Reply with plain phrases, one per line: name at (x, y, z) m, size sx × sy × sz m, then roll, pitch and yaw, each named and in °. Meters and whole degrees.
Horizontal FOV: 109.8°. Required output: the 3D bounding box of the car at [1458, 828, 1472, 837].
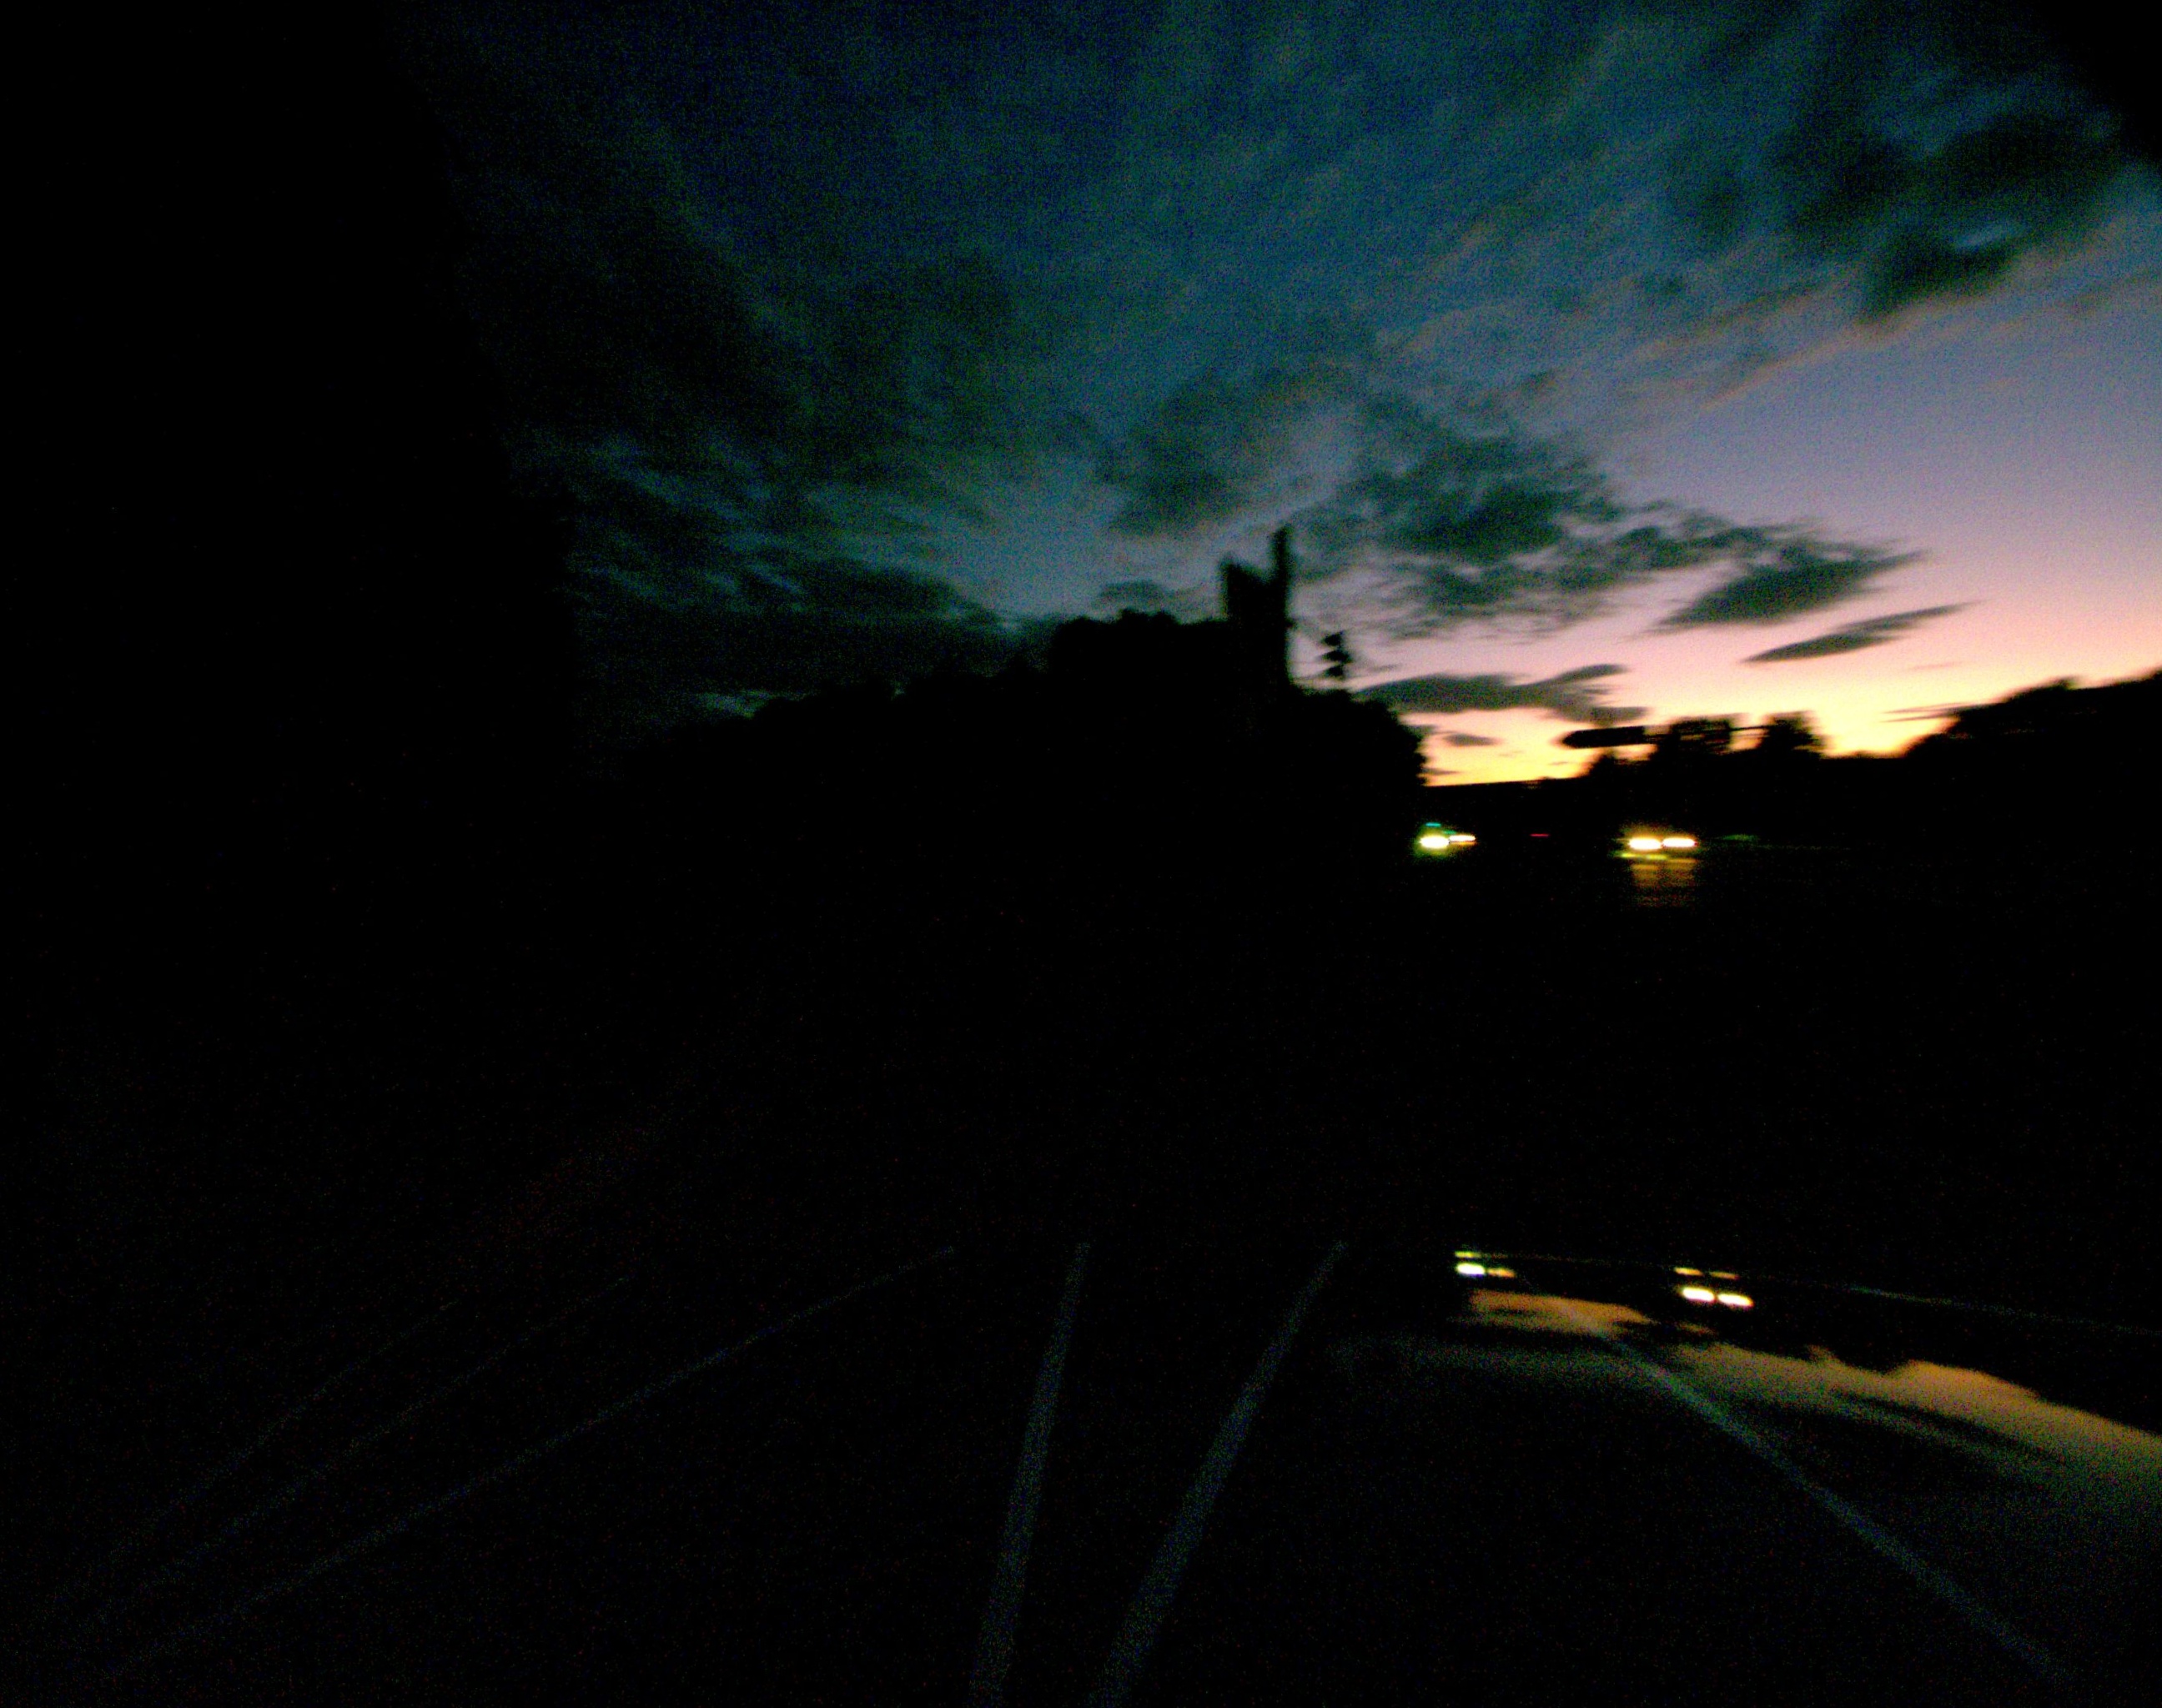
car at (69.853, -3.869, 138.197) m, size 2.054 × 1.587 × 4.007 m, roll -2°, pitch 1°, yaw 30°

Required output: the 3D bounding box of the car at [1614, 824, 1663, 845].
car at (40.969, -1.452, 55.922) m, size 1.995 × 1.445 × 4.741 m, roll -2°, pitch 1°, yaw 25°

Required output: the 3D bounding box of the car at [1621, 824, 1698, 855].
car at (28.182, -0.701, 37.149) m, size 1.995 × 1.445 × 4.006 m, roll 0°, pitch 1°, yaw 22°

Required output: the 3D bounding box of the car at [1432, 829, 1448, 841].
car at (56.513, -3.022, 119.619) m, size 2.004 × 1.718 × 4.007 m, roll -2°, pitch 1°, yaw 29°
